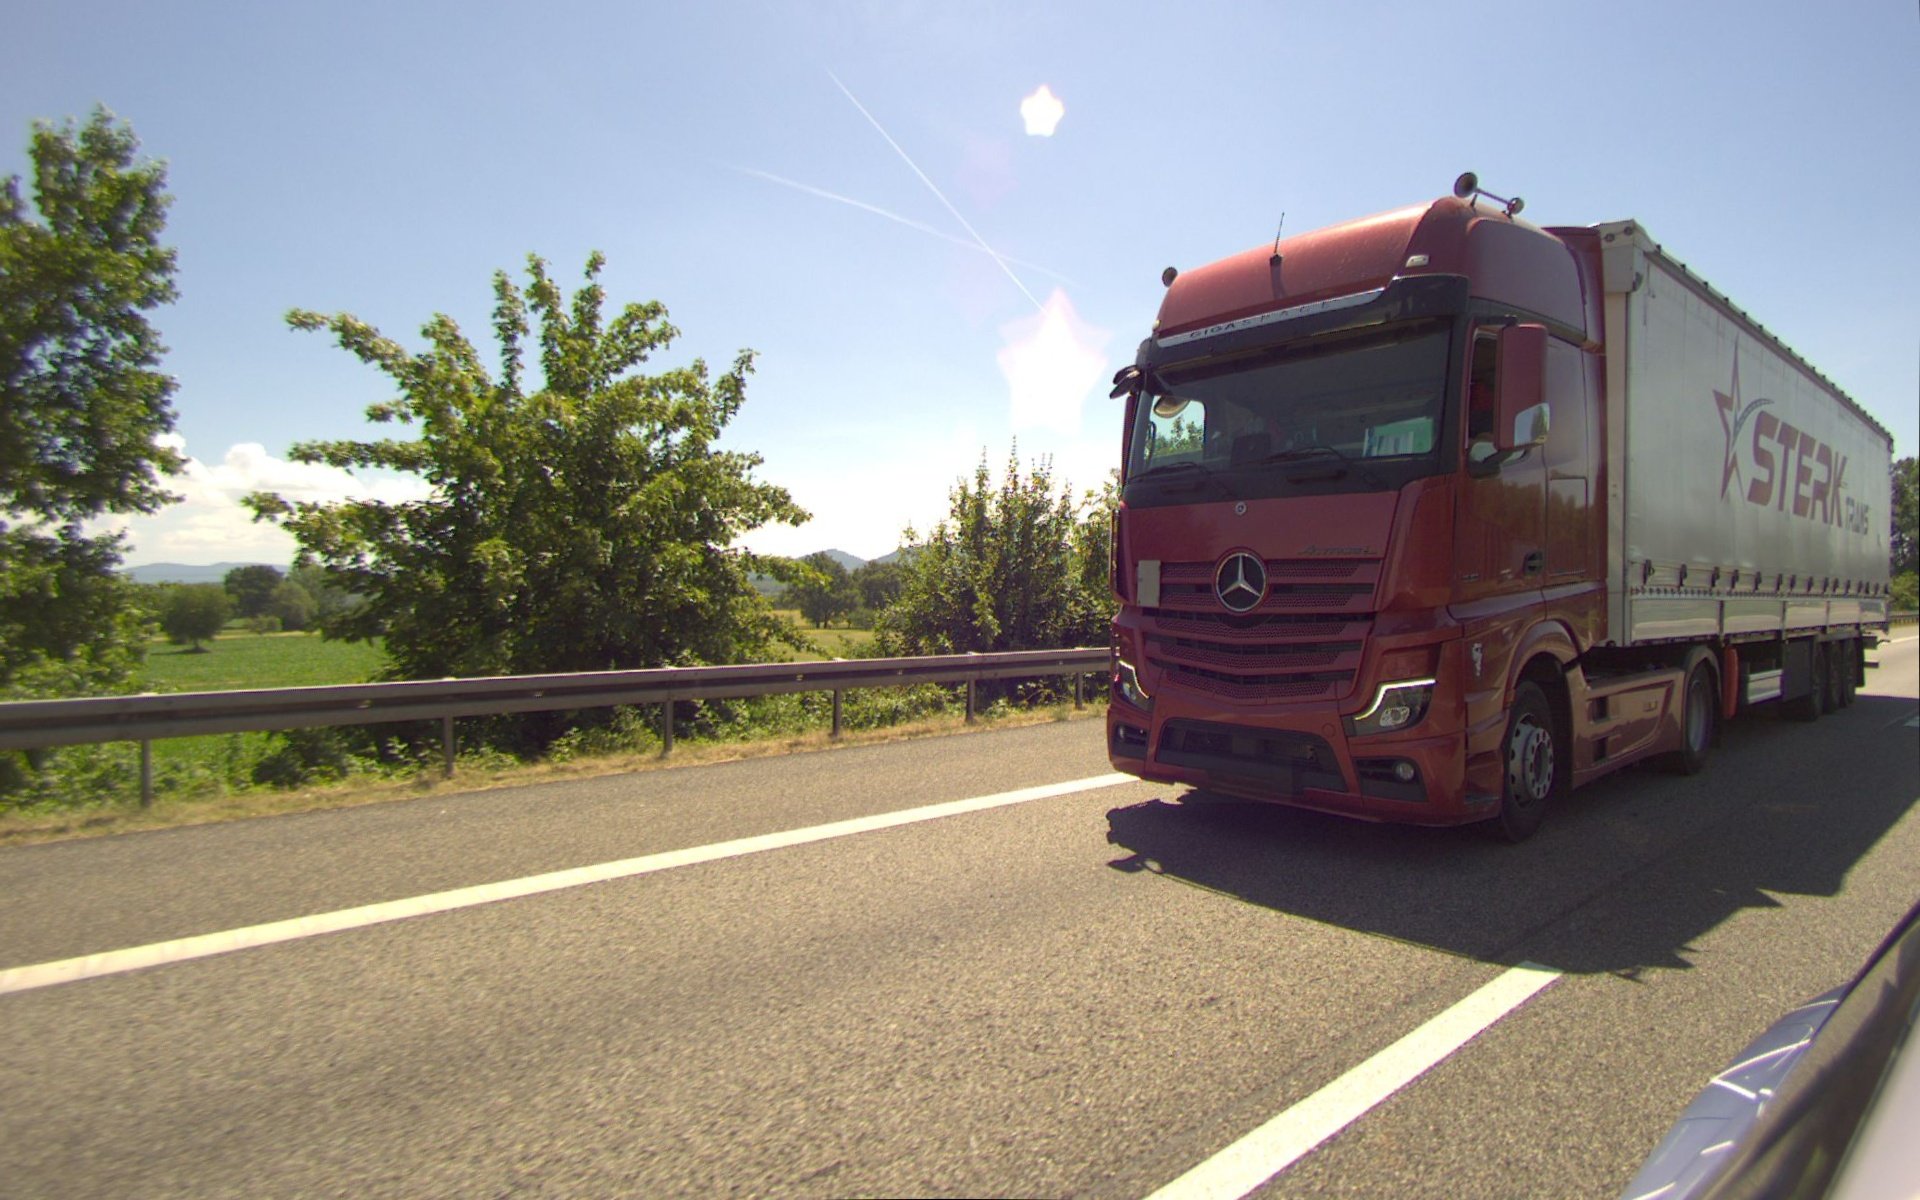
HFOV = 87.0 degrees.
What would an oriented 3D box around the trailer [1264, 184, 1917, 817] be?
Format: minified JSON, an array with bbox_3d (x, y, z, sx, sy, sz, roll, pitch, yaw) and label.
[{"bbox_3d":[8.741,-0.703,12.220,13.903,4.140,2.712,0,0,-41],"label":"trailer"}]

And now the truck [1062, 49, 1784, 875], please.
[{"bbox_3d":[4.207,-0.722,8.314,6.840,4.140,2.712,0,0,-40],"label":"truck"}]
